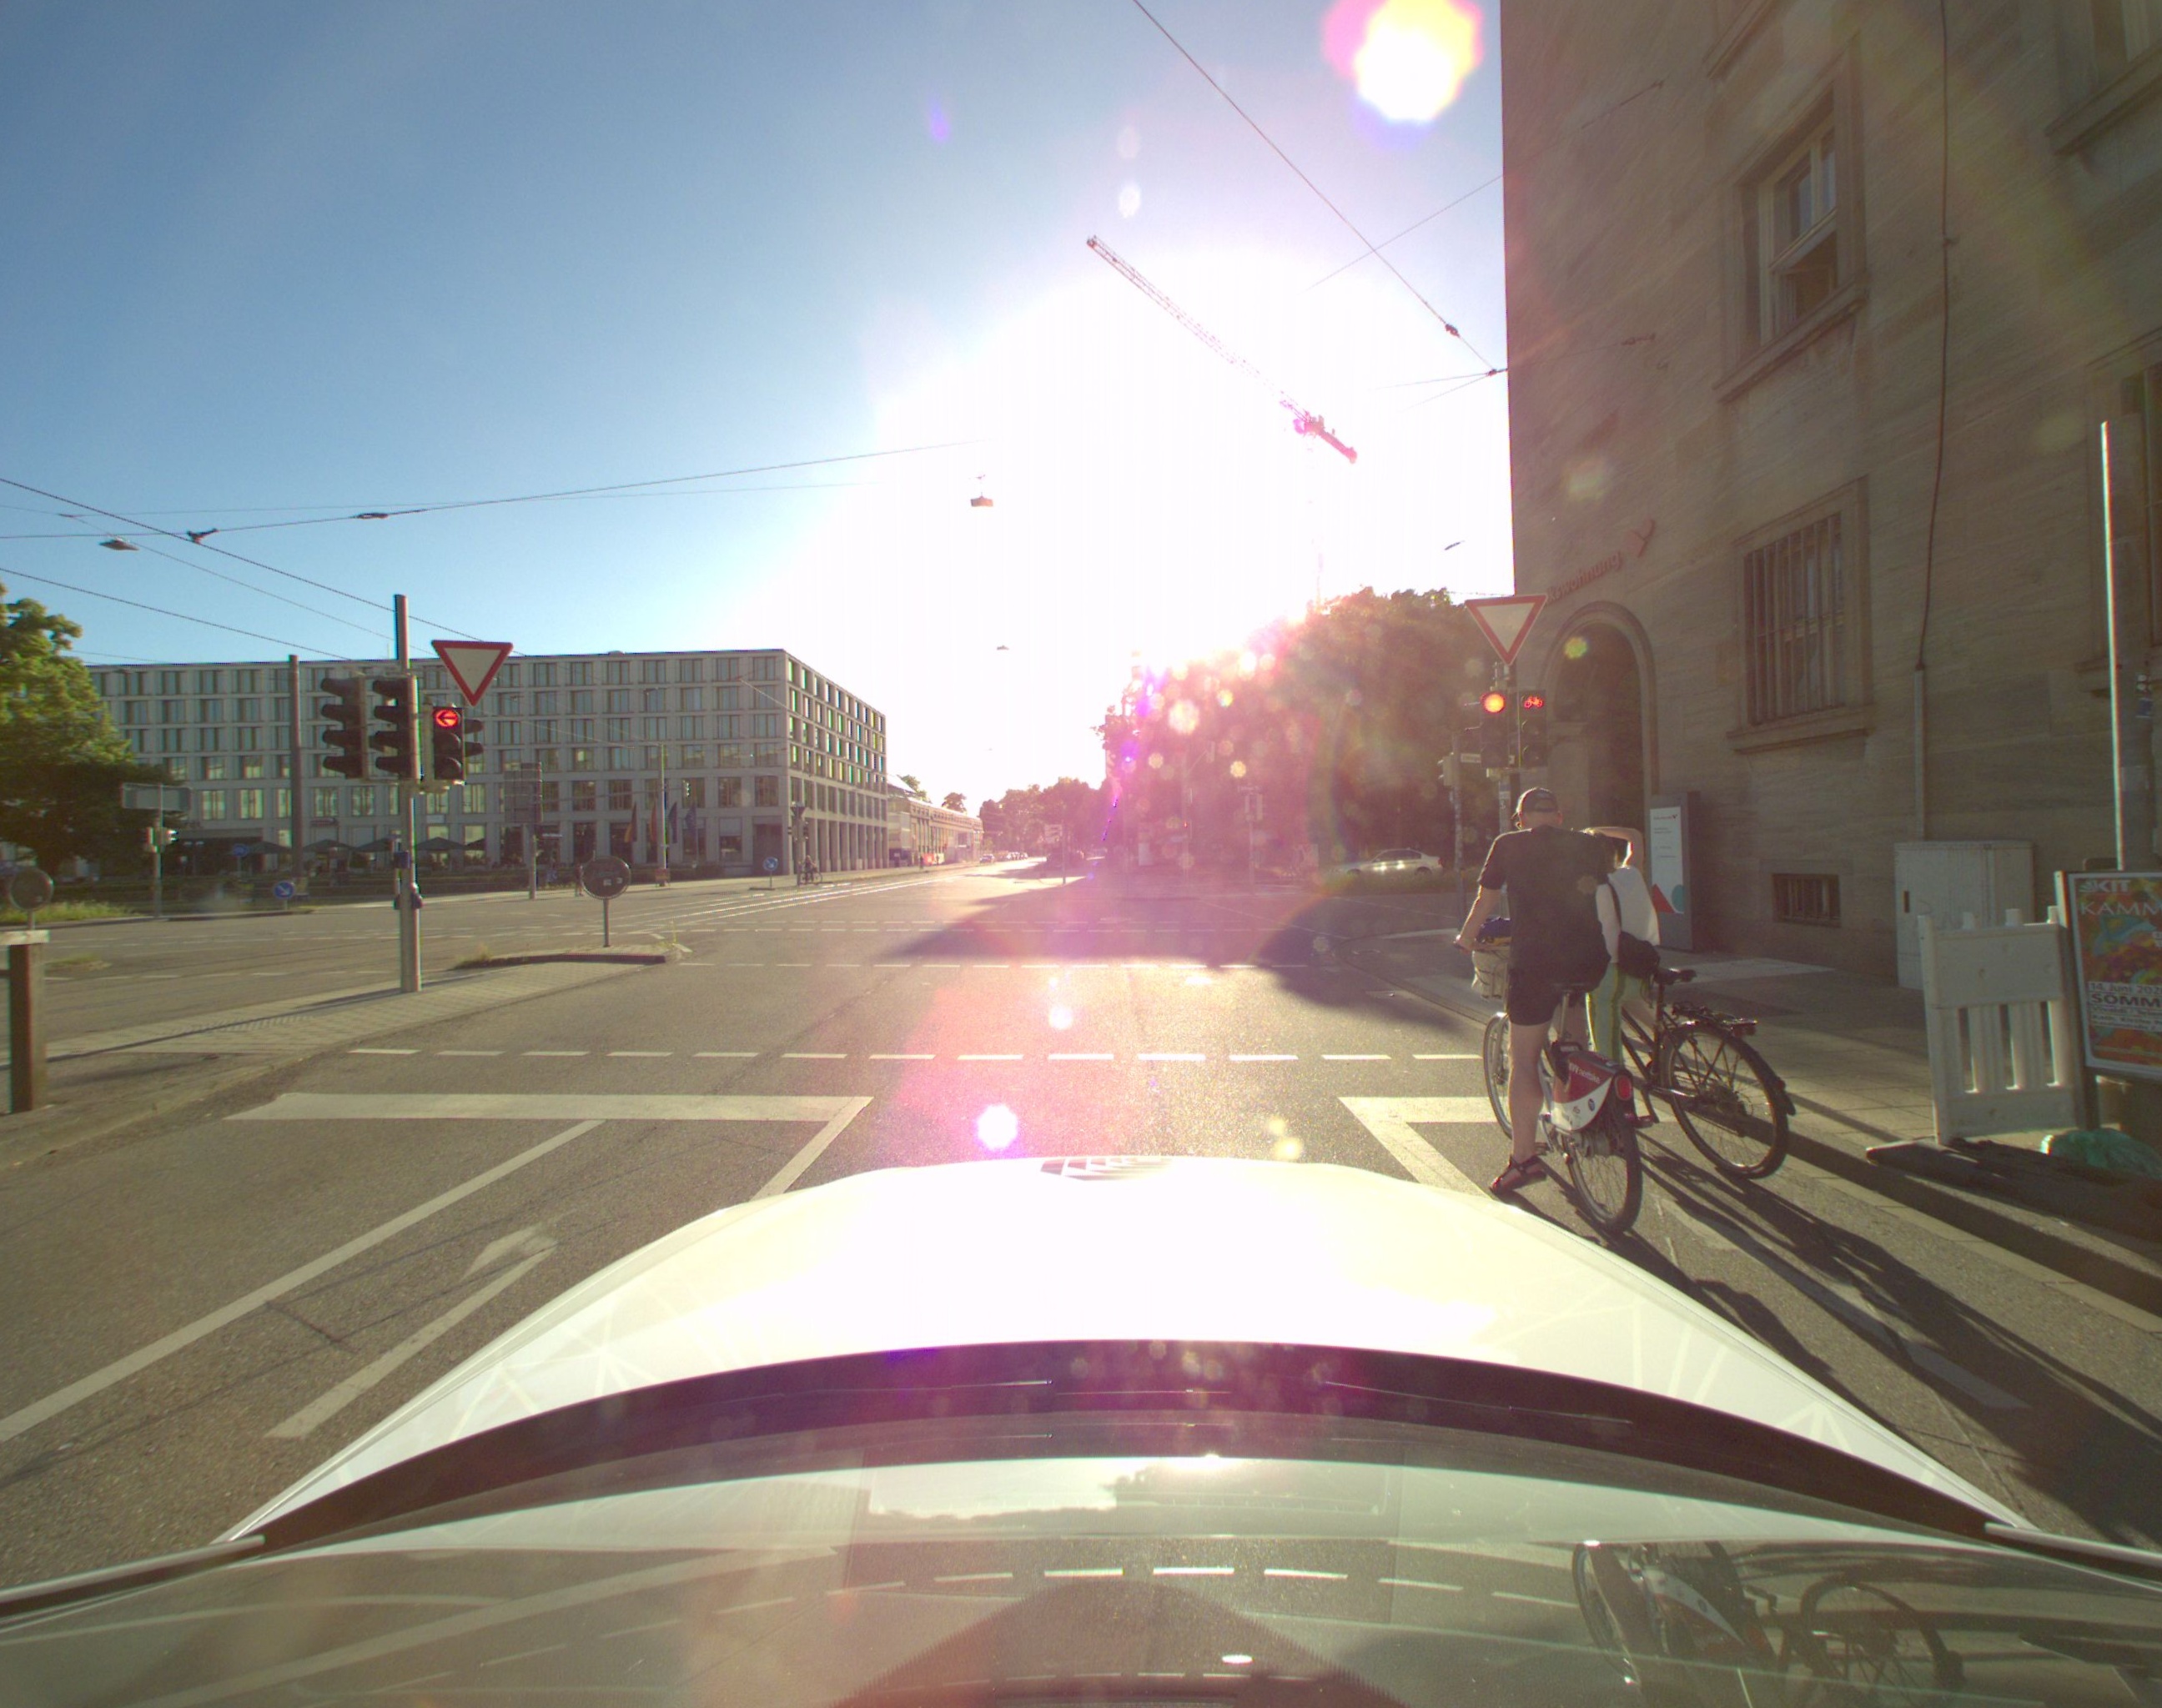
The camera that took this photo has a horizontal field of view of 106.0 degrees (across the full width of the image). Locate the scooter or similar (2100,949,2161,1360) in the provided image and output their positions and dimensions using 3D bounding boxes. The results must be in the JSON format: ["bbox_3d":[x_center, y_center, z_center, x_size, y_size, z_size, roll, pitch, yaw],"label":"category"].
[{"bbox_3d":[3.327,0.841,1.784,0.571,1.150,1.272,-1,-2,1],"label":"scooter or similar"}]

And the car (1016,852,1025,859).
[{"bbox_3d":[-14.453,0.356,195.326,1.988,1.644,3.998,-2,0,-1],"label":"car"}]

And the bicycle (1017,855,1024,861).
[{"bbox_3d":[-12.495,0.775,168.188,0.746,1.205,3.114,0,-1,7],"label":"bicycle"}]

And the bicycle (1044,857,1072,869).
[{"bbox_3d":[-1.906,0.718,67.442,2.240,0.940,0.653,-2,0,-4],"label":"bicycle"}]

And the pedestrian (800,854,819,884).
[{"bbox_3d":[-14.719,0.797,44.140,0.735,1.595,0.577,-2,0,29],"label":"pedestrian"}]

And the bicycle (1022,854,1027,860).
[{"bbox_3d":[-12.023,0.691,173.680,0.748,1.205,3.108,0,-1,1],"label":"bicycle"}]

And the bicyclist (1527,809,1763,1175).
[{"bbox_3d":[2.959,0.660,4.372,0.581,1.738,0.951,-2,0,2],"label":"bicyclist"}]

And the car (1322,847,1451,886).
[{"bbox_3d":[12.438,0.507,33.417,4.559,1.516,2.001,0,-1,1],"label":"car"}]

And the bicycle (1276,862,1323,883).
[{"bbox_3d":[9.714,0.833,36.286,1.932,0.889,0.719,-1,-1,8],"label":"bicycle"}]

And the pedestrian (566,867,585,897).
[{"bbox_3d":[-28.255,1.555,45.511,0.600,1.681,0.608,-2,0,9],"label":"pedestrian"}]

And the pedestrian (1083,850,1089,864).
[{"bbox_3d":[0.582,0.400,97.740,0.576,1.689,0.584,-2,0,-6],"label":"pedestrian"}]

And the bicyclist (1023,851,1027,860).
[{"bbox_3d":[-12.021,0.331,173.564,0.748,1.920,1.214,0,-1,1],"label":"bicyclist"}]

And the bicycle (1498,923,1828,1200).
[{"bbox_3d":[2.969,0.975,4.406,0.579,1.044,1.748,-2,0,3],"label":"bicycle"}]

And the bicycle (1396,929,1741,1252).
[{"bbox_3d":[2.187,0.976,3.960,0.621,1.044,1.747,-2,0,1],"label":"bicycle"}]

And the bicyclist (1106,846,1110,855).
[{"bbox_3d":[6.577,-0.864,200.343,0.891,2.014,0.746,0,-1,-10],"label":"bicyclist"}]

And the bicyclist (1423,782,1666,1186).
[{"bbox_3d":[2.180,0.556,3.950,0.621,1.715,0.913,-2,0,1],"label":"bicyclist"}]

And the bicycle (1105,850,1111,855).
[{"bbox_3d":[6.594,-0.460,200.222,0.890,1.219,2.784,0,-1,-9],"label":"bicycle"}]

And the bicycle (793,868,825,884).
[{"bbox_3d":[-14.752,1.189,44.163,1.696,0.823,0.577,-2,0,29],"label":"bicycle"}]

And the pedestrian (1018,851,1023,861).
[{"bbox_3d":[-12.477,0.326,168.257,0.746,2.063,1.052,0,-1,7],"label":"pedestrian"}]

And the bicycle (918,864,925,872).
[{"bbox_3d":[-17.980,1.568,91.909,0.492,0.839,1.158,-2,0,4],"label":"bicycle"}]

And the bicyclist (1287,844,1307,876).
[{"bbox_3d":[9.621,0.269,36.299,0.742,1.406,0.704,-1,-1,8],"label":"bicyclist"}]

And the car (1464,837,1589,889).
[{"bbox_3d":[17.884,0.354,32.860,3.970,2.014,2.002,0,-1,3],"label":"car"}]

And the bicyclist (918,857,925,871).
[{"bbox_3d":[-17.993,1.116,91.918,0.492,1.498,0.667,-2,0,4],"label":"bicyclist"}]

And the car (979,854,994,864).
[{"bbox_3d":[-15.816,0.776,136.362,1.988,1.599,3.999,-2,0,-1],"label":"car"}]
